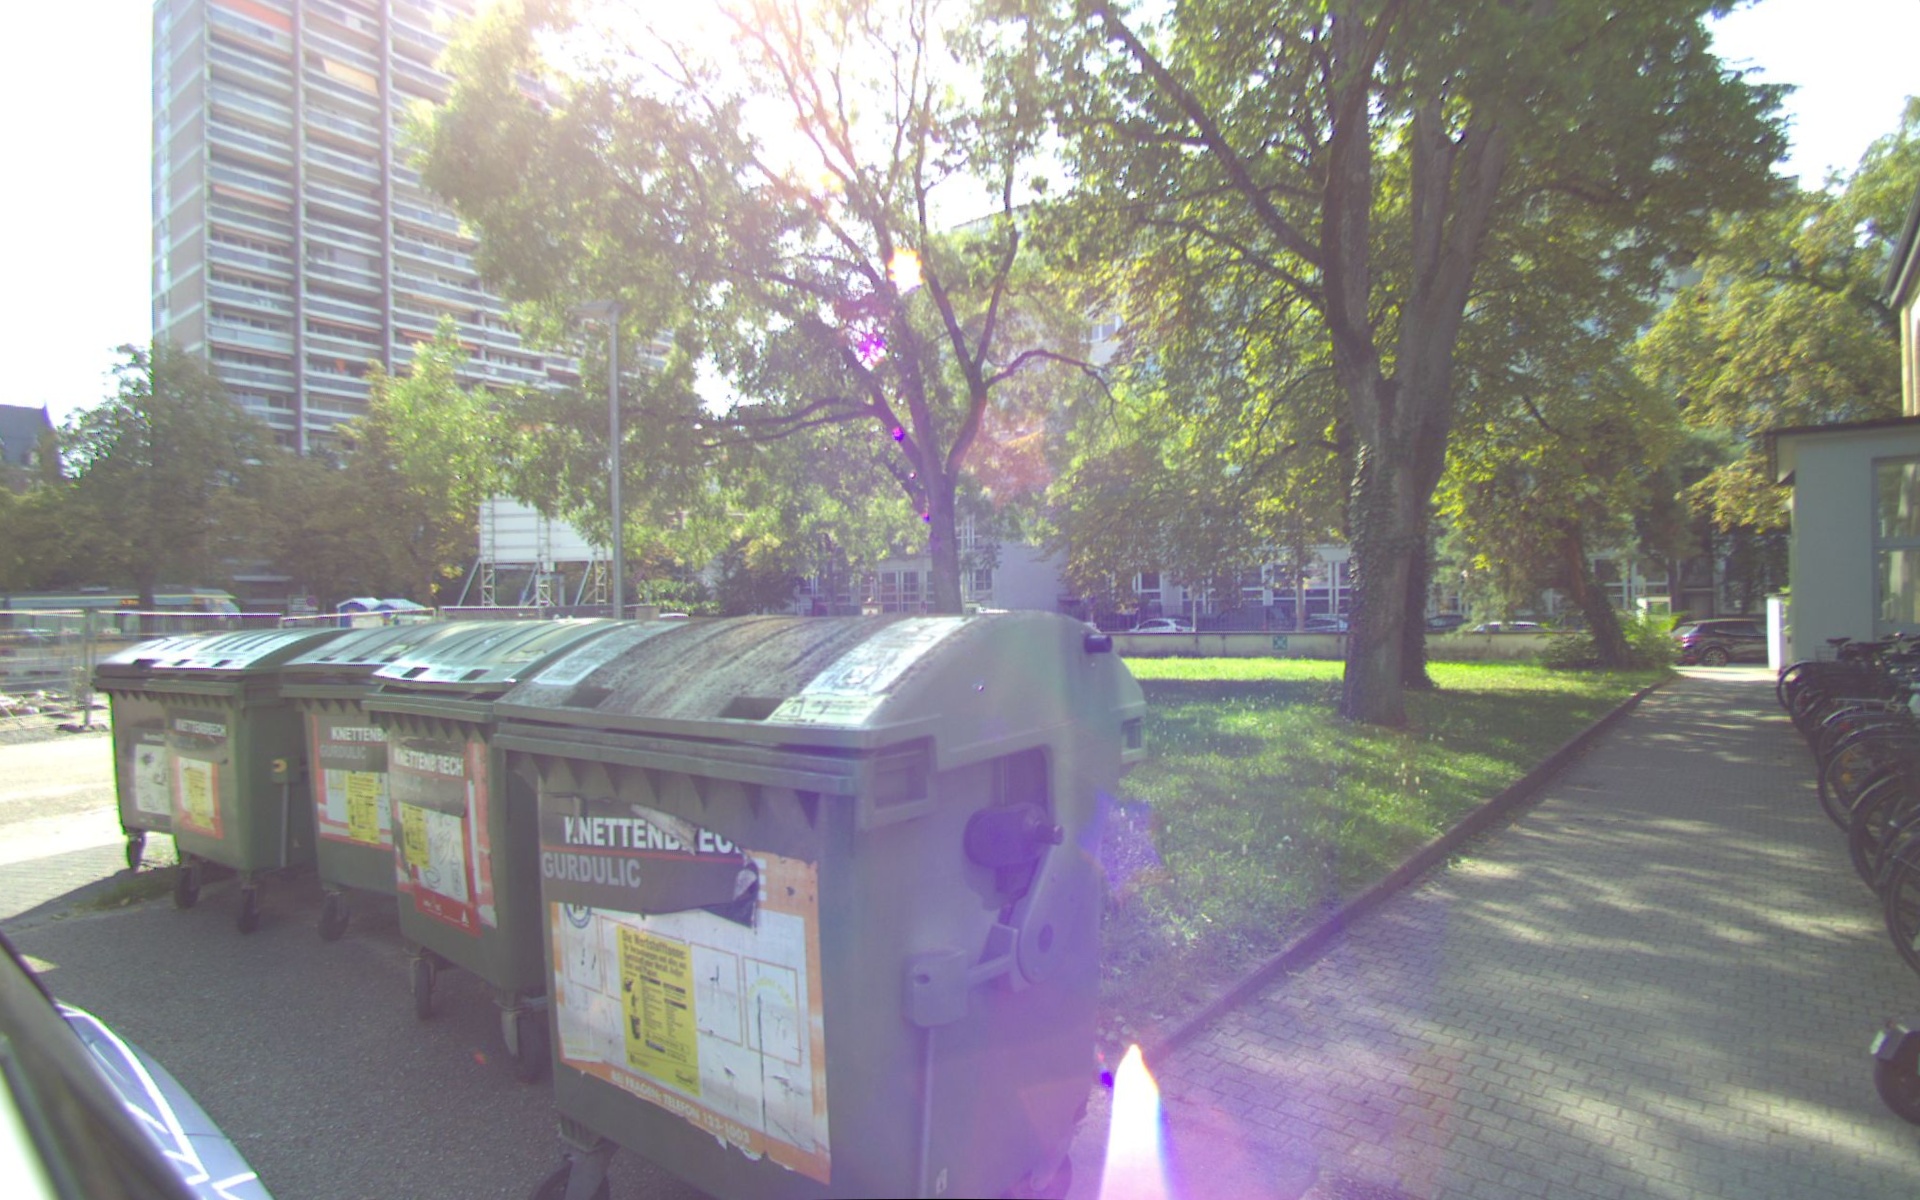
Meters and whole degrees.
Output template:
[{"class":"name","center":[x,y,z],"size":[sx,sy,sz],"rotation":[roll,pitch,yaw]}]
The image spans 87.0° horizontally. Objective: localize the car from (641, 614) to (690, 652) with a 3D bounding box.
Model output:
[{"class":"car","center":[-15.665,1.724,53.661],"size":[1.833,1.918,4.013],"rotation":[-1,-1,-26]}]

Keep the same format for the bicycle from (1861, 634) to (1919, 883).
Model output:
[{"class":"bicycle","center":[5.341,0.771,4.601],"size":[1.822,1.198,0.321],"rotation":[-1,0,38]}]

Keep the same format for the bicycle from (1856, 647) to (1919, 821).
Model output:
[{"class":"bicycle","center":[6.687,0.857,6.214],"size":[1.744,1.092,0.321],"rotation":[-1,0,38]}]

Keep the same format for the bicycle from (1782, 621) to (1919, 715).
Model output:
[{"class":"bicycle","center":[11.001,0.799,12.146],"size":[1.744,1.092,0.321],"rotation":[-1,0,38]}]

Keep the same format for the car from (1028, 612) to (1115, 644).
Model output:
[{"class":"car","center":[5.244,1.310,48.007],"size":[1.768,1.431,4.006],"rotation":[-1,-1,-40]}]

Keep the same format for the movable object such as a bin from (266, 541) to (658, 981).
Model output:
[{"class":"movable object such as a bin","center":[-2.369,0.631,4.841],"size":[1.374,1.718,1.170],"rotation":[-1,0,35]}]

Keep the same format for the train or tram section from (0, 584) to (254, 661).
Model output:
[{"class":"train or tram section","center":[-43.089,1.196,51.705],"size":[13.848,3.599,2.746],"rotation":[-1,-1,11]}]

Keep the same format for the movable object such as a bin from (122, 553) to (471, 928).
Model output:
[{"class":"movable object such as a bin","center":[-3.610,0.647,5.526],"size":[1.374,1.718,1.170],"rotation":[-1,0,35]}]

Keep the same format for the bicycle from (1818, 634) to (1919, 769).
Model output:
[{"class":"bicycle","center":[8.157,0.837,8.247],"size":[1.744,1.092,0.321],"rotation":[-1,0,38]}]

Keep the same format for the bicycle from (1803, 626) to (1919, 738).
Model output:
[{"class":"bicycle","center":[9.587,0.818,10.130],"size":[1.744,1.092,0.321],"rotation":[-1,0,38]}]

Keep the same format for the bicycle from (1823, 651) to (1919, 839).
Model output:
[{"class":"bicycle","center":[6.137,0.864,5.827],"size":[1.744,1.092,0.321],"rotation":[-1,0,38]}]

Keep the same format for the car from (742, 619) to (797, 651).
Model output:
[{"class":"car","center":[-10.034,1.800,53.081],"size":[1.833,1.555,4.013],"rotation":[-1,-1,-26]}]

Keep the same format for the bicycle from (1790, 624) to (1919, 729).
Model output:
[{"class":"bicycle","center":[10.087,0.811,10.898],"size":[1.744,1.092,0.321],"rotation":[-1,0,38]}]

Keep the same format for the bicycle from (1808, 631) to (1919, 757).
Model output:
[{"class":"bicycle","center":[8.632,0.831,8.921],"size":[1.744,1.092,0.321],"rotation":[-1,0,38]}]

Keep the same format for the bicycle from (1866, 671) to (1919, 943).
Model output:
[{"class":"bicycle","center":[4.658,0.847,3.747],"size":[1.909,1.083,0.321],"rotation":[-1,0,38]}]

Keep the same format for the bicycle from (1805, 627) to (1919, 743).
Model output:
[{"class":"bicycle","center":[9.339,0.821,9.804],"size":[1.744,1.092,0.321],"rotation":[-1,0,38]}]

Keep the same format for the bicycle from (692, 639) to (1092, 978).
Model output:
[{"class":"bicycle","center":[-0.394,0.813,4.604],"size":[2.005,1.222,0.471],"rotation":[-1,0,38]}]

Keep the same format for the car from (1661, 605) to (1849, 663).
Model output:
[{"class":"car","center":[22.654,0.960,28.989],"size":[3.780,1.555,1.723],"rotation":[-1,-1,13]}]

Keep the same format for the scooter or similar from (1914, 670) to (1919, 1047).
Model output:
[{"class":"scooter or similar","center":[3.256,0.822,2.334],"size":[1.493,1.249,0.321],"rotation":[-1,0,38]}]

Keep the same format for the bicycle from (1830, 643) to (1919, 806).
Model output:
[{"class":"bicycle","center":[6.978,0.853,6.755],"size":[1.744,1.092,0.321],"rotation":[-1,0,38]}]

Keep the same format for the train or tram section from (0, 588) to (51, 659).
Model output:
[{"class":"train or tram section","center":[-56.137,1.363,54.423],"size":[14.437,3.599,2.746],"rotation":[-1,-1,11]}]

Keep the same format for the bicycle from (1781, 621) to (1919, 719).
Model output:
[{"class":"bicycle","center":[10.734,0.802,11.825],"size":[1.744,1.092,0.321],"rotation":[-1,0,38]}]

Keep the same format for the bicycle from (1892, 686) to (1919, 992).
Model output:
[{"class":"bicycle","center":[4.271,0.871,3.267],"size":[1.816,1.087,0.321],"rotation":[-1,0,38]}]

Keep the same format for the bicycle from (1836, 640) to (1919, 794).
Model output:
[{"class":"bicycle","center":[7.380,0.847,7.169],"size":[1.744,1.092,0.321],"rotation":[-1,0,38]}]

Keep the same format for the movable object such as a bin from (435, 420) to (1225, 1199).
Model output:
[{"class":"movable object such as a bin","center":[-0.271,0.604,2.335],"size":[1.374,1.718,1.170],"rotation":[-1,0,35]}]

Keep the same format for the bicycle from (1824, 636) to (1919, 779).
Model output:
[{"class":"bicycle","center":[7.822,0.841,7.793],"size":[1.744,1.092,0.321],"rotation":[-1,0,38]}]

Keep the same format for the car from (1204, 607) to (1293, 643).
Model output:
[{"class":"car","center":[13.348,1.142,47.059],"size":[1.833,1.555,4.013],"rotation":[-1,-1,-23]}]

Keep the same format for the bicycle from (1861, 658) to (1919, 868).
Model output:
[{"class":"bicycle","center":[5.712,0.870,5.080],"size":[1.744,1.092,0.321],"rotation":[-1,0,38]}]

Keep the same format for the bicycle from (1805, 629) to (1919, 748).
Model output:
[{"class":"bicycle","center":[9.064,0.825,9.476],"size":[1.744,1.092,0.321],"rotation":[-1,0,38]}]

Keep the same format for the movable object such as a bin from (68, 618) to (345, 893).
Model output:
[{"class":"movable object such as a bin","center":[-4.717,0.883,6.372],"size":[1.102,1.509,1.027],"rotation":[-1,0,28]}]

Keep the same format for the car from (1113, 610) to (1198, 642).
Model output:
[{"class":"car","center":[9.359,1.255,48.703],"size":[1.766,1.431,4.012],"rotation":[-1,-1,-30]}]

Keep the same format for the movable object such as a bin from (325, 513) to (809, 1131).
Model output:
[{"class":"movable object such as a bin","center":[-1.460,0.619,3.727],"size":[1.395,1.718,1.168],"rotation":[-1,0,43]}]

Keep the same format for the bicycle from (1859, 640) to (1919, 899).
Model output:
[{"class":"bicycle","center":[5.065,0.768,4.232],"size":[1.913,1.157,0.321],"rotation":[-1,0,38]}]
